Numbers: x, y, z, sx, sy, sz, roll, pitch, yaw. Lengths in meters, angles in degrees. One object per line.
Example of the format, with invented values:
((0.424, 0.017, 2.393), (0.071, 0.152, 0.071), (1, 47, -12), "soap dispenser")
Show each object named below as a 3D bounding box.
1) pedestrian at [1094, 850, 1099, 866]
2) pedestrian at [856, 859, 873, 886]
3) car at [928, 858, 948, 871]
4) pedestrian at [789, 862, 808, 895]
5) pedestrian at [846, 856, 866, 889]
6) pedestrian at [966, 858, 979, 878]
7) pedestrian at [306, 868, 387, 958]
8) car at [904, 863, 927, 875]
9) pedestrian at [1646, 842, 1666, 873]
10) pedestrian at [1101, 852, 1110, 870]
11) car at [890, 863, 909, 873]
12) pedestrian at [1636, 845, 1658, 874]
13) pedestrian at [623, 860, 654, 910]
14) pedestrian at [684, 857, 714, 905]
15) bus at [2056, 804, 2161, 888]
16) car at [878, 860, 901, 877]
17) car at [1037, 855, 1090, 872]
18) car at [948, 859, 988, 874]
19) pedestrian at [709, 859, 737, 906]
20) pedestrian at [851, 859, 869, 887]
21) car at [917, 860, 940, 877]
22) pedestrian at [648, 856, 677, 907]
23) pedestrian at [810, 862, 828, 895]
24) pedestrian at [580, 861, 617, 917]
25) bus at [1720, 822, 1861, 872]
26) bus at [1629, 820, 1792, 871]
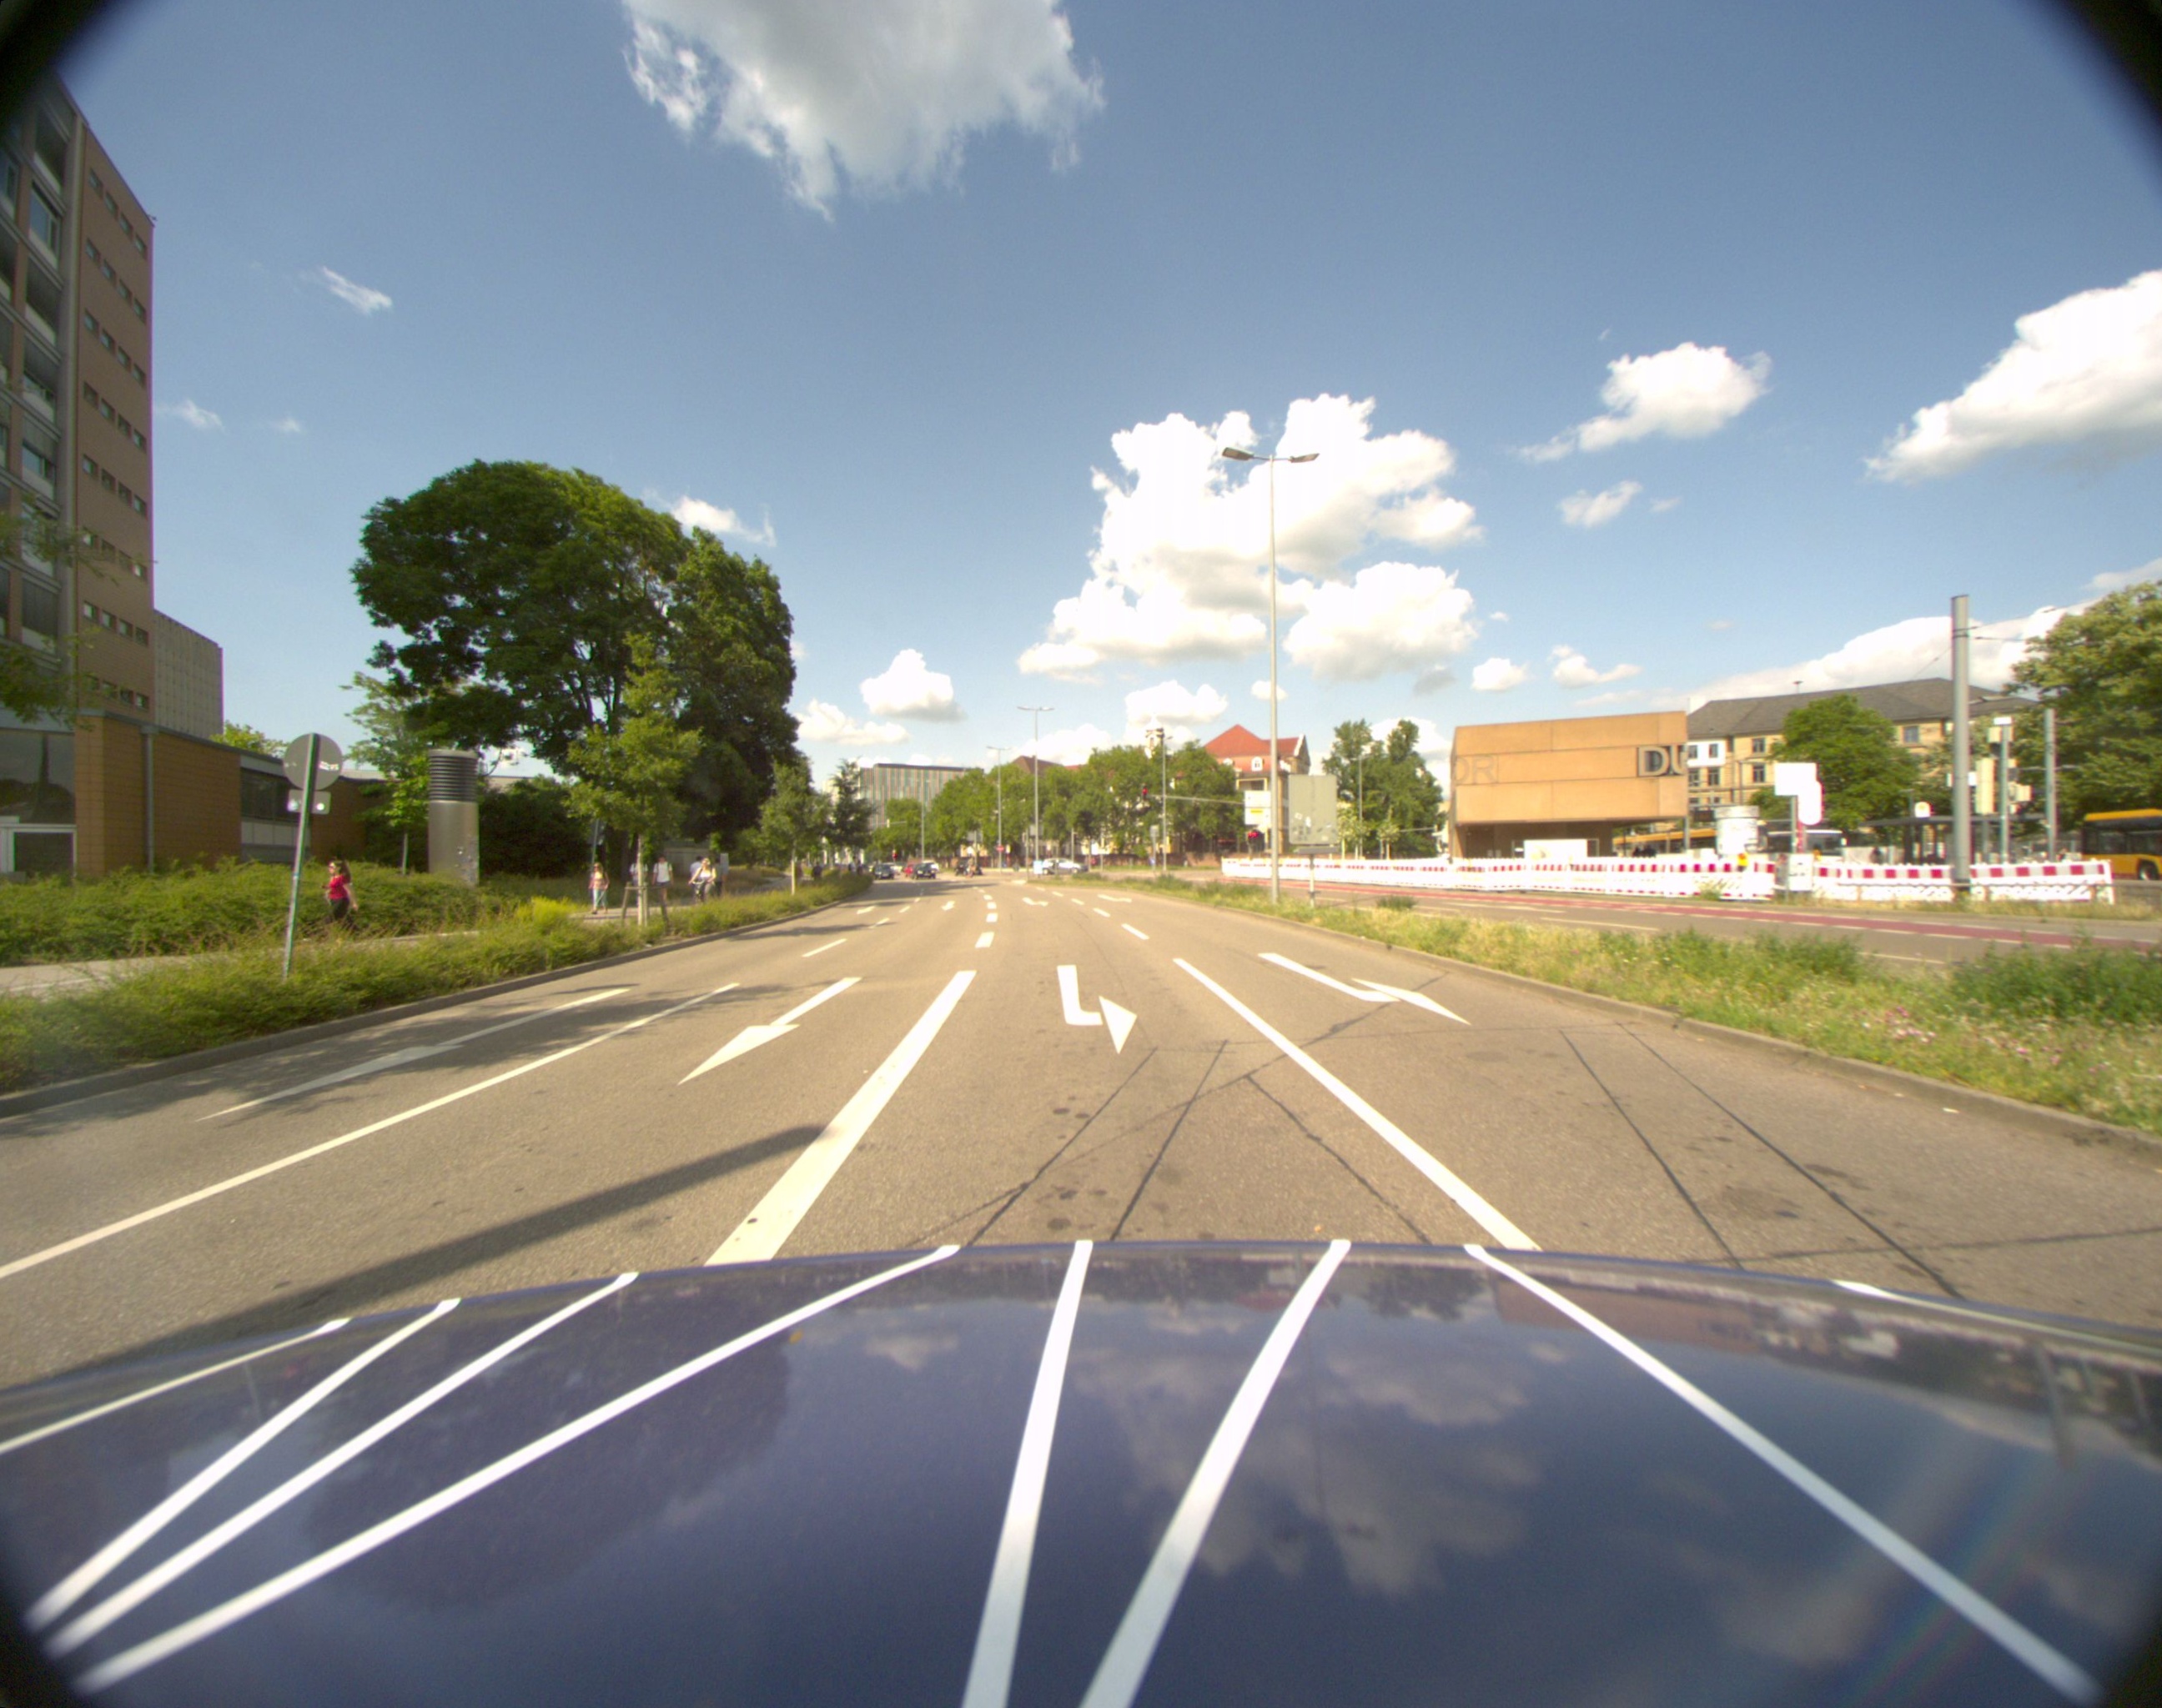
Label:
((1.796, 0.460, 87.208), (0.368, 1.722, 0.451), (-1, 2, 42), "pedestrian")
((-14.129, 1.203, 49.637), (0.928, 1.725, 0.768), (-3, 1, -9), "pedestrian")
((-16.883, 1.240, 89.634), (1.781, 1.346, 3.993), (-2, 1, -19), "car")
((-14.967, 1.300, 40.290), (0.769, 1.725, 0.718), (-3, 1, -15), "pedestrian")
((-13.710, 1.120, 46.299), (0.965, 2.002, 0.768), (-3, 1, -9), "pedestrian")
((-9.393, 1.180, 65.702), (0.740, 1.704, 0.874), (-3, 1, -29), "pedestrian")
((-13.884, 1.090, 14.379), (0.615, 1.613, 0.890), (2, 1, 11), "pedestrian")
((-16.672, 1.477, 76.565), (1.600, 1.127, 3.622), (-2, 0, -22), "car")
((30.823, 0.178, 40.745), (0.731, 1.620, 0.561), (-1, 1, 23), "pedestrian")
((2.760, 0.814, 85.668), (0.583, 1.982, 0.621), (-3, 1, -34), "pedestrian")
((-20.899, 1.630, 87.523), (1.911, 1.127, 4.097), (-1, 0, -16), "car")
((32.778, 0.316, 44.020), (0.653, 1.622, 0.765), (-1, 1, -17), "pedestrian")
((-15.174, 1.050, 26.081), (0.616, 1.690, 0.888), (2, 1, -12), "pedestrian")
((-14.305, 1.013, 28.453), (0.745, 1.736, 0.888), (2, 1, -12), "pedestrian")
((41.102, -0.303, 26.697), (2.827, 3.117, 12.863), (-1, 0, 25), "bus")
((-17.560, 1.319, 69.916), (1.827, 1.454, 3.996), (-1, 0, -11), "car")
((-1.519, 0.819, 67.376), (4.262, 1.368, 2.002), (-2, 1, 14), "car")
((-11.044, 1.199, 74.269), (3.778, 1.327, 1.737), (-2, 1, 41), "car")
((-13.472, 1.066, 28.608), (0.745, 1.744, 0.888), (2, 1, -12), "pedestrian")
((-14.180, 1.218, 48.844), (0.928, 1.725, 0.768), (-3, 1, -9), "pedestrian")
((-13.437, 1.245, 66.746), (1.828, 1.454, 3.995), (-1, 0, -14), "car")
((-14.479, 0.942, 26.317), (0.616, 1.690, 0.888), (2, 1, -12), "pedestrian")
((-14.150, 1.322, 41.046), (0.769, 1.725, 0.718), (-3, 1, -15), "pedestrian")
((-14.355, 1.035, 22.635), (0.616, 1.613, 0.888), (2, 1, -12), "pedestrian")
((59.200, -0.462, 64.298), (3.599, 3.610, 18.907), (-1, 0, 27), "bus")
((47.723, -0.540, 59.069), (3.468, 3.165, 23.819), (-1, 0, 24), "bus")
